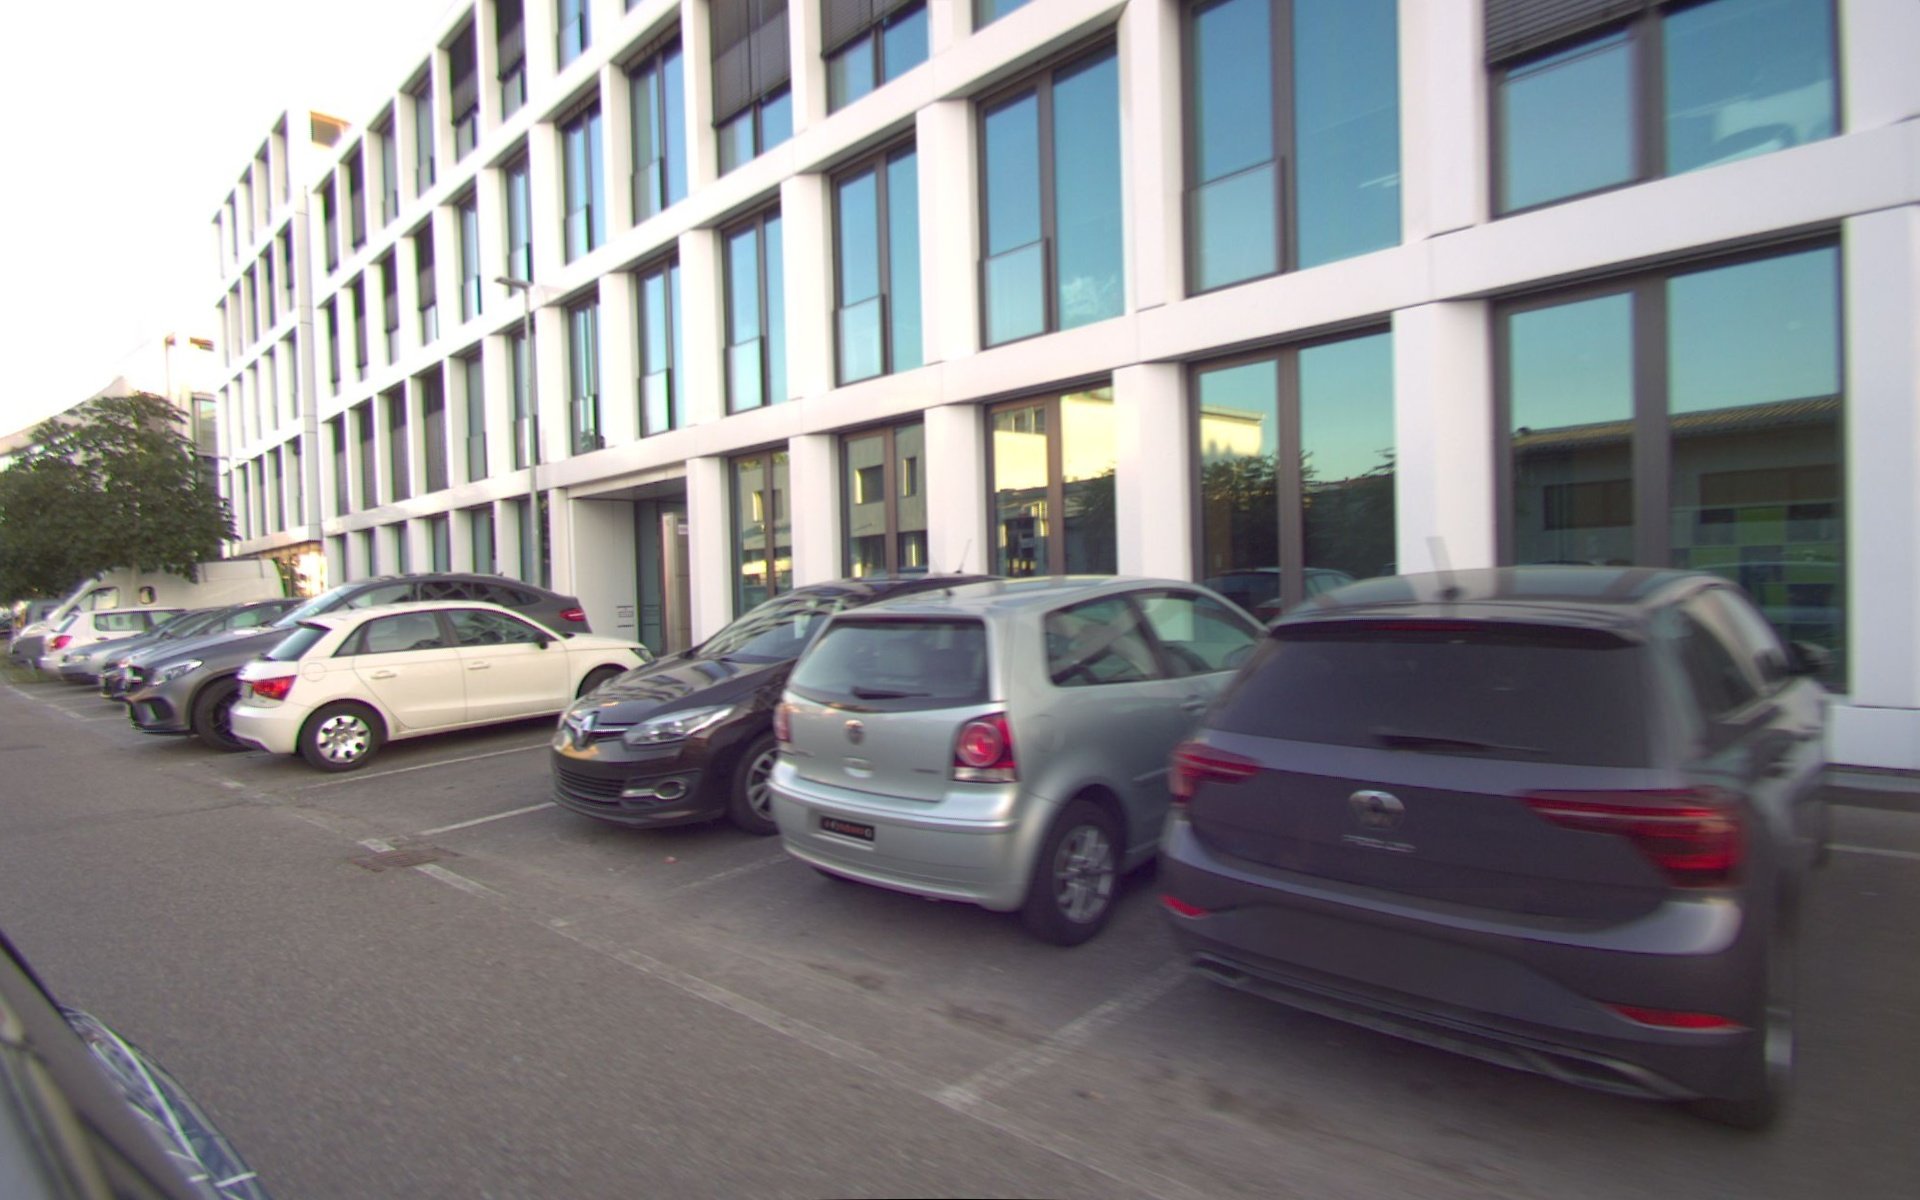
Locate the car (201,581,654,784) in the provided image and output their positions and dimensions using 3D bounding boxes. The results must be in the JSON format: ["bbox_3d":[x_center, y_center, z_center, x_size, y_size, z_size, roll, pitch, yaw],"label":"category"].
[{"bbox_3d":[-5.172,0.671,10.098,3.624,1.522,1.698,-4,1,-44],"label":"car"}]

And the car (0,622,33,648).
[{"bbox_3d":[-56.206,2.099,58.541,1.725,1.435,3.607,-2,2,42],"label":"car"}]

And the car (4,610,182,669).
[{"bbox_3d":[-27.366,1.194,32.031,1.780,1.530,4.064,-2,1,42],"label":"car"}]

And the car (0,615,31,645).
[{"bbox_3d":[-63.783,2.089,65.531,1.886,1.840,5.024,-2,2,36],"label":"car"}]

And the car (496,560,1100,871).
[{"bbox_3d":[-0.925,0.563,7.230,1.796,1.522,3.920,-2,1,44],"label":"car"}]

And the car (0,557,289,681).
[{"bbox_3d":[-20.014,0.364,24.998,2.079,2.652,5.321,-2,1,44],"label":"car"}]

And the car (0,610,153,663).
[{"bbox_3d":[-31.352,1.262,35.805,1.844,1.530,4.066,-2,1,41],"label":"car"}]

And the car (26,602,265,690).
[{"bbox_3d":[-17.069,0.911,21.316,1.707,1.506,3.668,-2,1,43],"label":"car"}]

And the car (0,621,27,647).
[{"bbox_3d":[-58.195,2.129,60.280,1.725,1.435,3.608,-2,2,41],"label":"car"}]

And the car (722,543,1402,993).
[{"bbox_3d":[0.787,0.526,5.368,1.688,1.522,3.615,-2,1,43],"label":"car"}]

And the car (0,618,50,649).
[{"bbox_3d":[-53.926,1.936,57.132,1.725,1.559,3.607,-2,2,42],"label":"car"}]

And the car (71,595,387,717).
[{"bbox_3d":[-11.453,0.796,16.040,1.693,1.533,3.742,-2,1,41],"label":"car"}]

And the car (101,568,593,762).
[{"bbox_3d":[-6.987,0.590,11.870,4.565,1.719,2.006,-4,1,-44],"label":"car"}]

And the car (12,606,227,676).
[{"bbox_3d":[-22.156,1.033,26.804,1.773,1.510,4.068,-2,1,39],"label":"car"}]

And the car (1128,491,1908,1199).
[{"bbox_3d":[2.388,0.491,3.818,1.688,1.522,3.615,-2,1,43],"label":"car"}]

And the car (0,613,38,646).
[{"bbox_3d":[-60.181,1.936,62.086,1.886,1.894,5.024,-2,2,36],"label":"car"}]

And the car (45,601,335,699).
[{"bbox_3d":[-14.894,0.895,19.745,1.795,1.506,4.260,-2,1,44],"label":"car"}]

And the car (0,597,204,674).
[{"bbox_3d":[-23.953,0.942,28.368,1.814,1.830,4.068,-2,1,39],"label":"car"}]
